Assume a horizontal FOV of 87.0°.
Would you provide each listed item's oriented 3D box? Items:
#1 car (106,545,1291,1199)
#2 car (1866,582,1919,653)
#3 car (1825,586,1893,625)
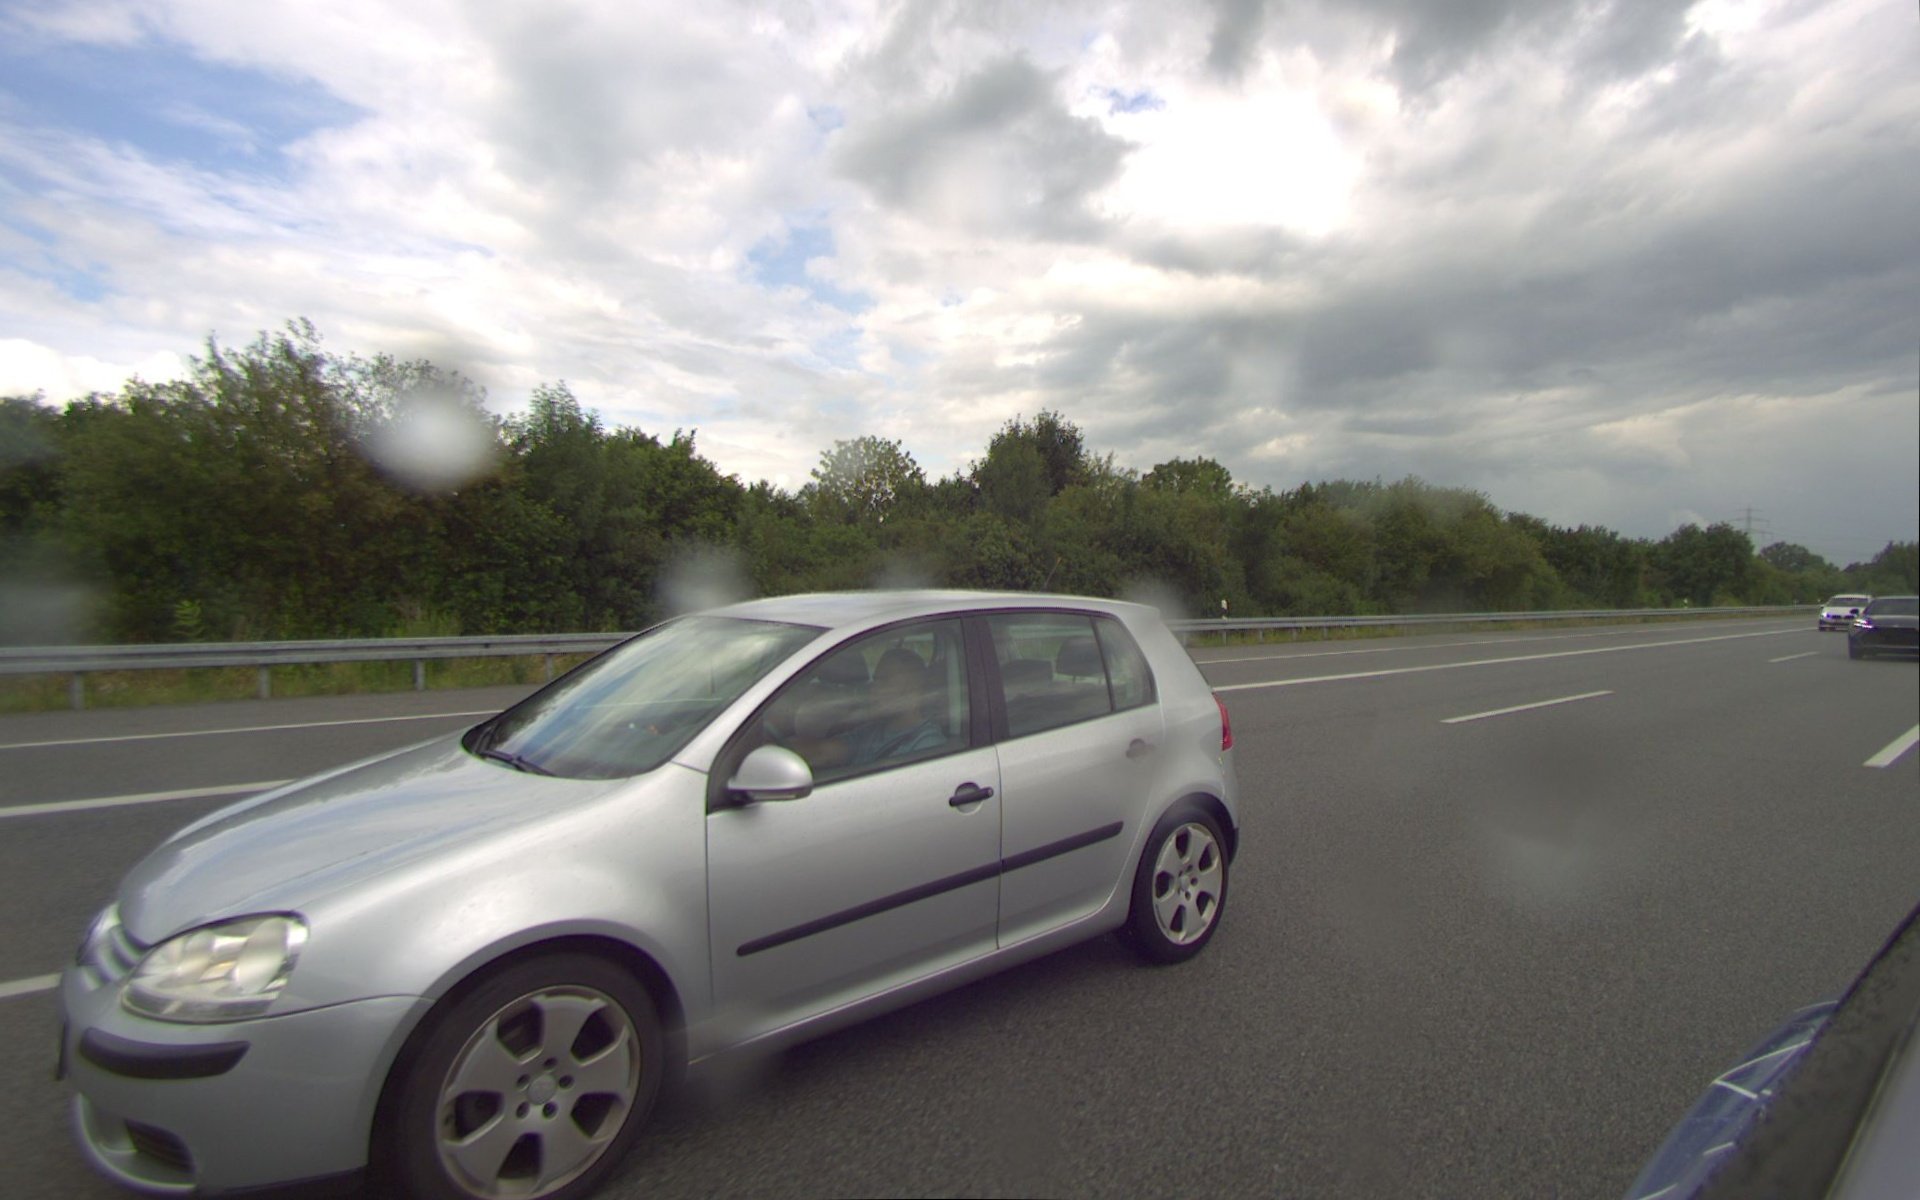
[{"bbox_3d":[-0.608,0.628,3.817,3.968,1.495,1.798,0,1,-42],"label":"car"},{"bbox_3d":[23.476,0.388,24.588,4.520,1.633,1.783,0,1,-43],"label":"car"},{"bbox_3d":[39.660,0.201,44.616,4.616,1.619,1.812,0,1,-43],"label":"car"}]
